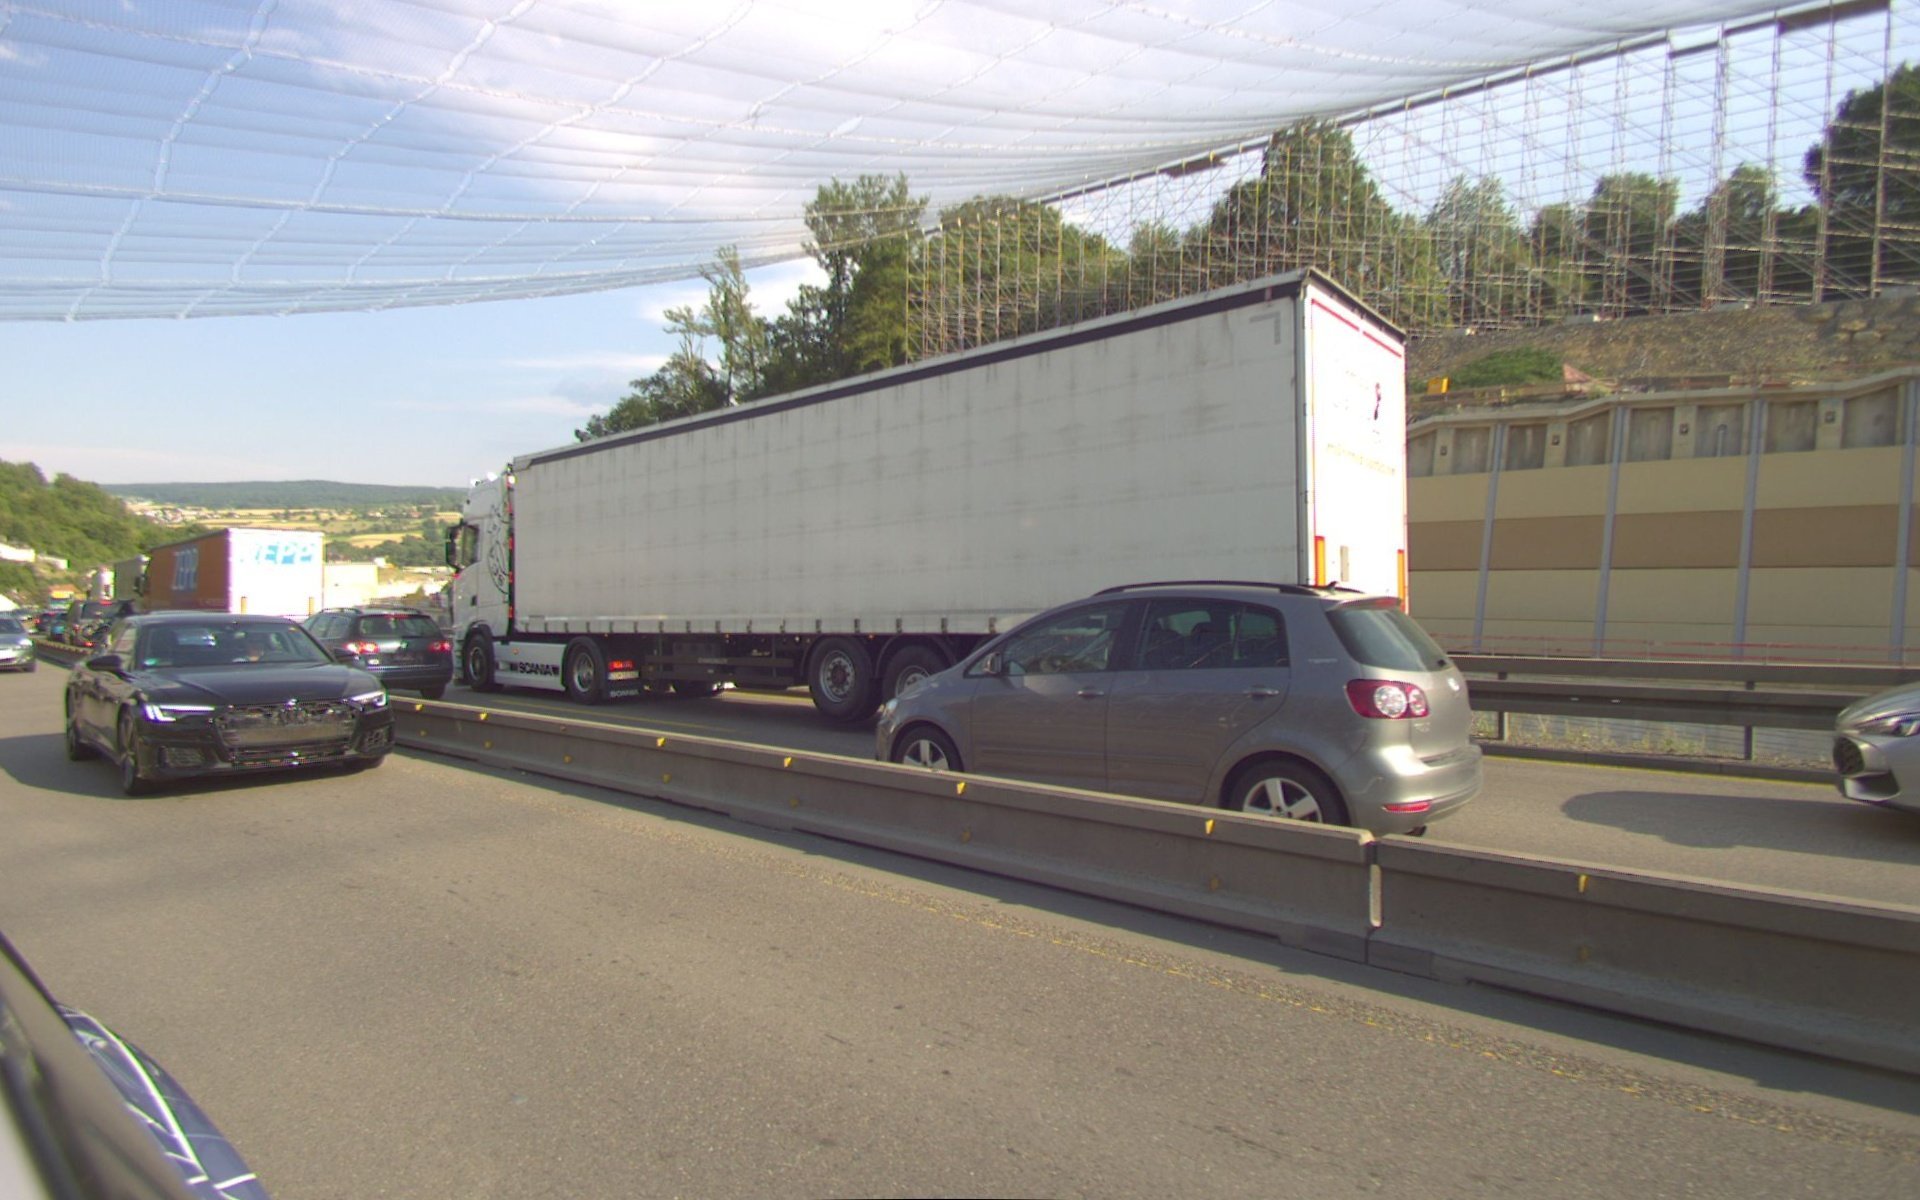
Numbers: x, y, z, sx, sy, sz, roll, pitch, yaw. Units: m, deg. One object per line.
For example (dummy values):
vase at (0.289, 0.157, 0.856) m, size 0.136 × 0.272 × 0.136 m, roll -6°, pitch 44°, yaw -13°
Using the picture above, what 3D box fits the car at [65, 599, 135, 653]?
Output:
car at (-31.094, 0.921, 36.558) m, size 1.702 × 1.841 × 3.295 m, roll -1°, pitch 0°, yaw -45°

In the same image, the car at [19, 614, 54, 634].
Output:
car at (-61.231, 1.586, 67.076) m, size 3.291 × 1.243 × 1.384 m, roll -1°, pitch 0°, yaw 41°

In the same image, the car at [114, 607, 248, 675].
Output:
car at (-19.773, 0.972, 25.595) m, size 4.978 × 1.530 × 1.913 m, roll -1°, pitch 0°, yaw 43°

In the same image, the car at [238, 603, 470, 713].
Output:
car at (-10.087, 0.848, 16.698) m, size 4.642 × 1.546 × 1.915 m, roll -1°, pitch 0°, yaw 41°

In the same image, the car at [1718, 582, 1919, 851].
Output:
car at (7.269, 0.650, 5.540) m, size 4.905 × 1.552 × 1.774 m, roll -1°, pitch 0°, yaw 40°

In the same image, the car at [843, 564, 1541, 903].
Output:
car at (1.263, 0.631, 6.634) m, size 4.215 × 1.563 × 1.566 m, roll -1°, pitch 0°, yaw 40°

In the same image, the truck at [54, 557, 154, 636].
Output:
truck at (-55.889, -0.126, 65.770) m, size 17.407 × 4.593 × 2.954 m, roll -1°, pitch 0°, yaw 43°

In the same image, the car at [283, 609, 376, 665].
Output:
car at (-17.260, 0.970, 27.661) m, size 3.293 × 1.426 × 1.353 m, roll -1°, pitch 0°, yaw 43°

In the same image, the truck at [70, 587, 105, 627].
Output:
truck at (-110.338, 0.871, 127.948) m, size 3.122 × 4.881 × 14.376 m, roll -1°, pitch 0°, yaw -42°

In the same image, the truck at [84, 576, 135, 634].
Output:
truck at (-77.029, 0.450, 91.541) m, size 3.122 × 4.881 × 14.376 m, roll -1°, pitch 0°, yaw -42°

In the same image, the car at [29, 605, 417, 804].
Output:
car at (-7.233, 0.806, 9.703) m, size 4.957 × 1.409 × 1.915 m, roll -1°, pitch 0°, yaw 41°

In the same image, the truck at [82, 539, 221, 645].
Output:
truck at (-40.889, -0.272, 50.761) m, size 17.407 × 4.593 × 2.954 m, roll -1°, pitch 0°, yaw 43°

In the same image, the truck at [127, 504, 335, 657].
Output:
truck at (-27.556, -0.522, 37.542) m, size 17.407 × 4.593 × 2.954 m, roll -1°, pitch 0°, yaw 43°

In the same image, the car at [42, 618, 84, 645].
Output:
car at (-39.643, 1.377, 44.710) m, size 2.727 × 1.122 × 1.150 m, roll -1°, pitch 0°, yaw 44°

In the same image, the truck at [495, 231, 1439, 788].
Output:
truck at (-1.599, -0.635, 13.408) m, size 14.160 × 4.259 × 2.693 m, roll -1°, pitch 0°, yaw 41°

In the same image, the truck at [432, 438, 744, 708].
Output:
truck at (-6.660, -0.375, 17.691) m, size 6.045 × 3.937 × 2.490 m, roll -1°, pitch 0°, yaw 41°

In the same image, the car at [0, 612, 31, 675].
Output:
car at (-24.343, 1.051, 25.087) m, size 4.355 × 1.484 × 1.736 m, roll -1°, pitch 0°, yaw 45°
